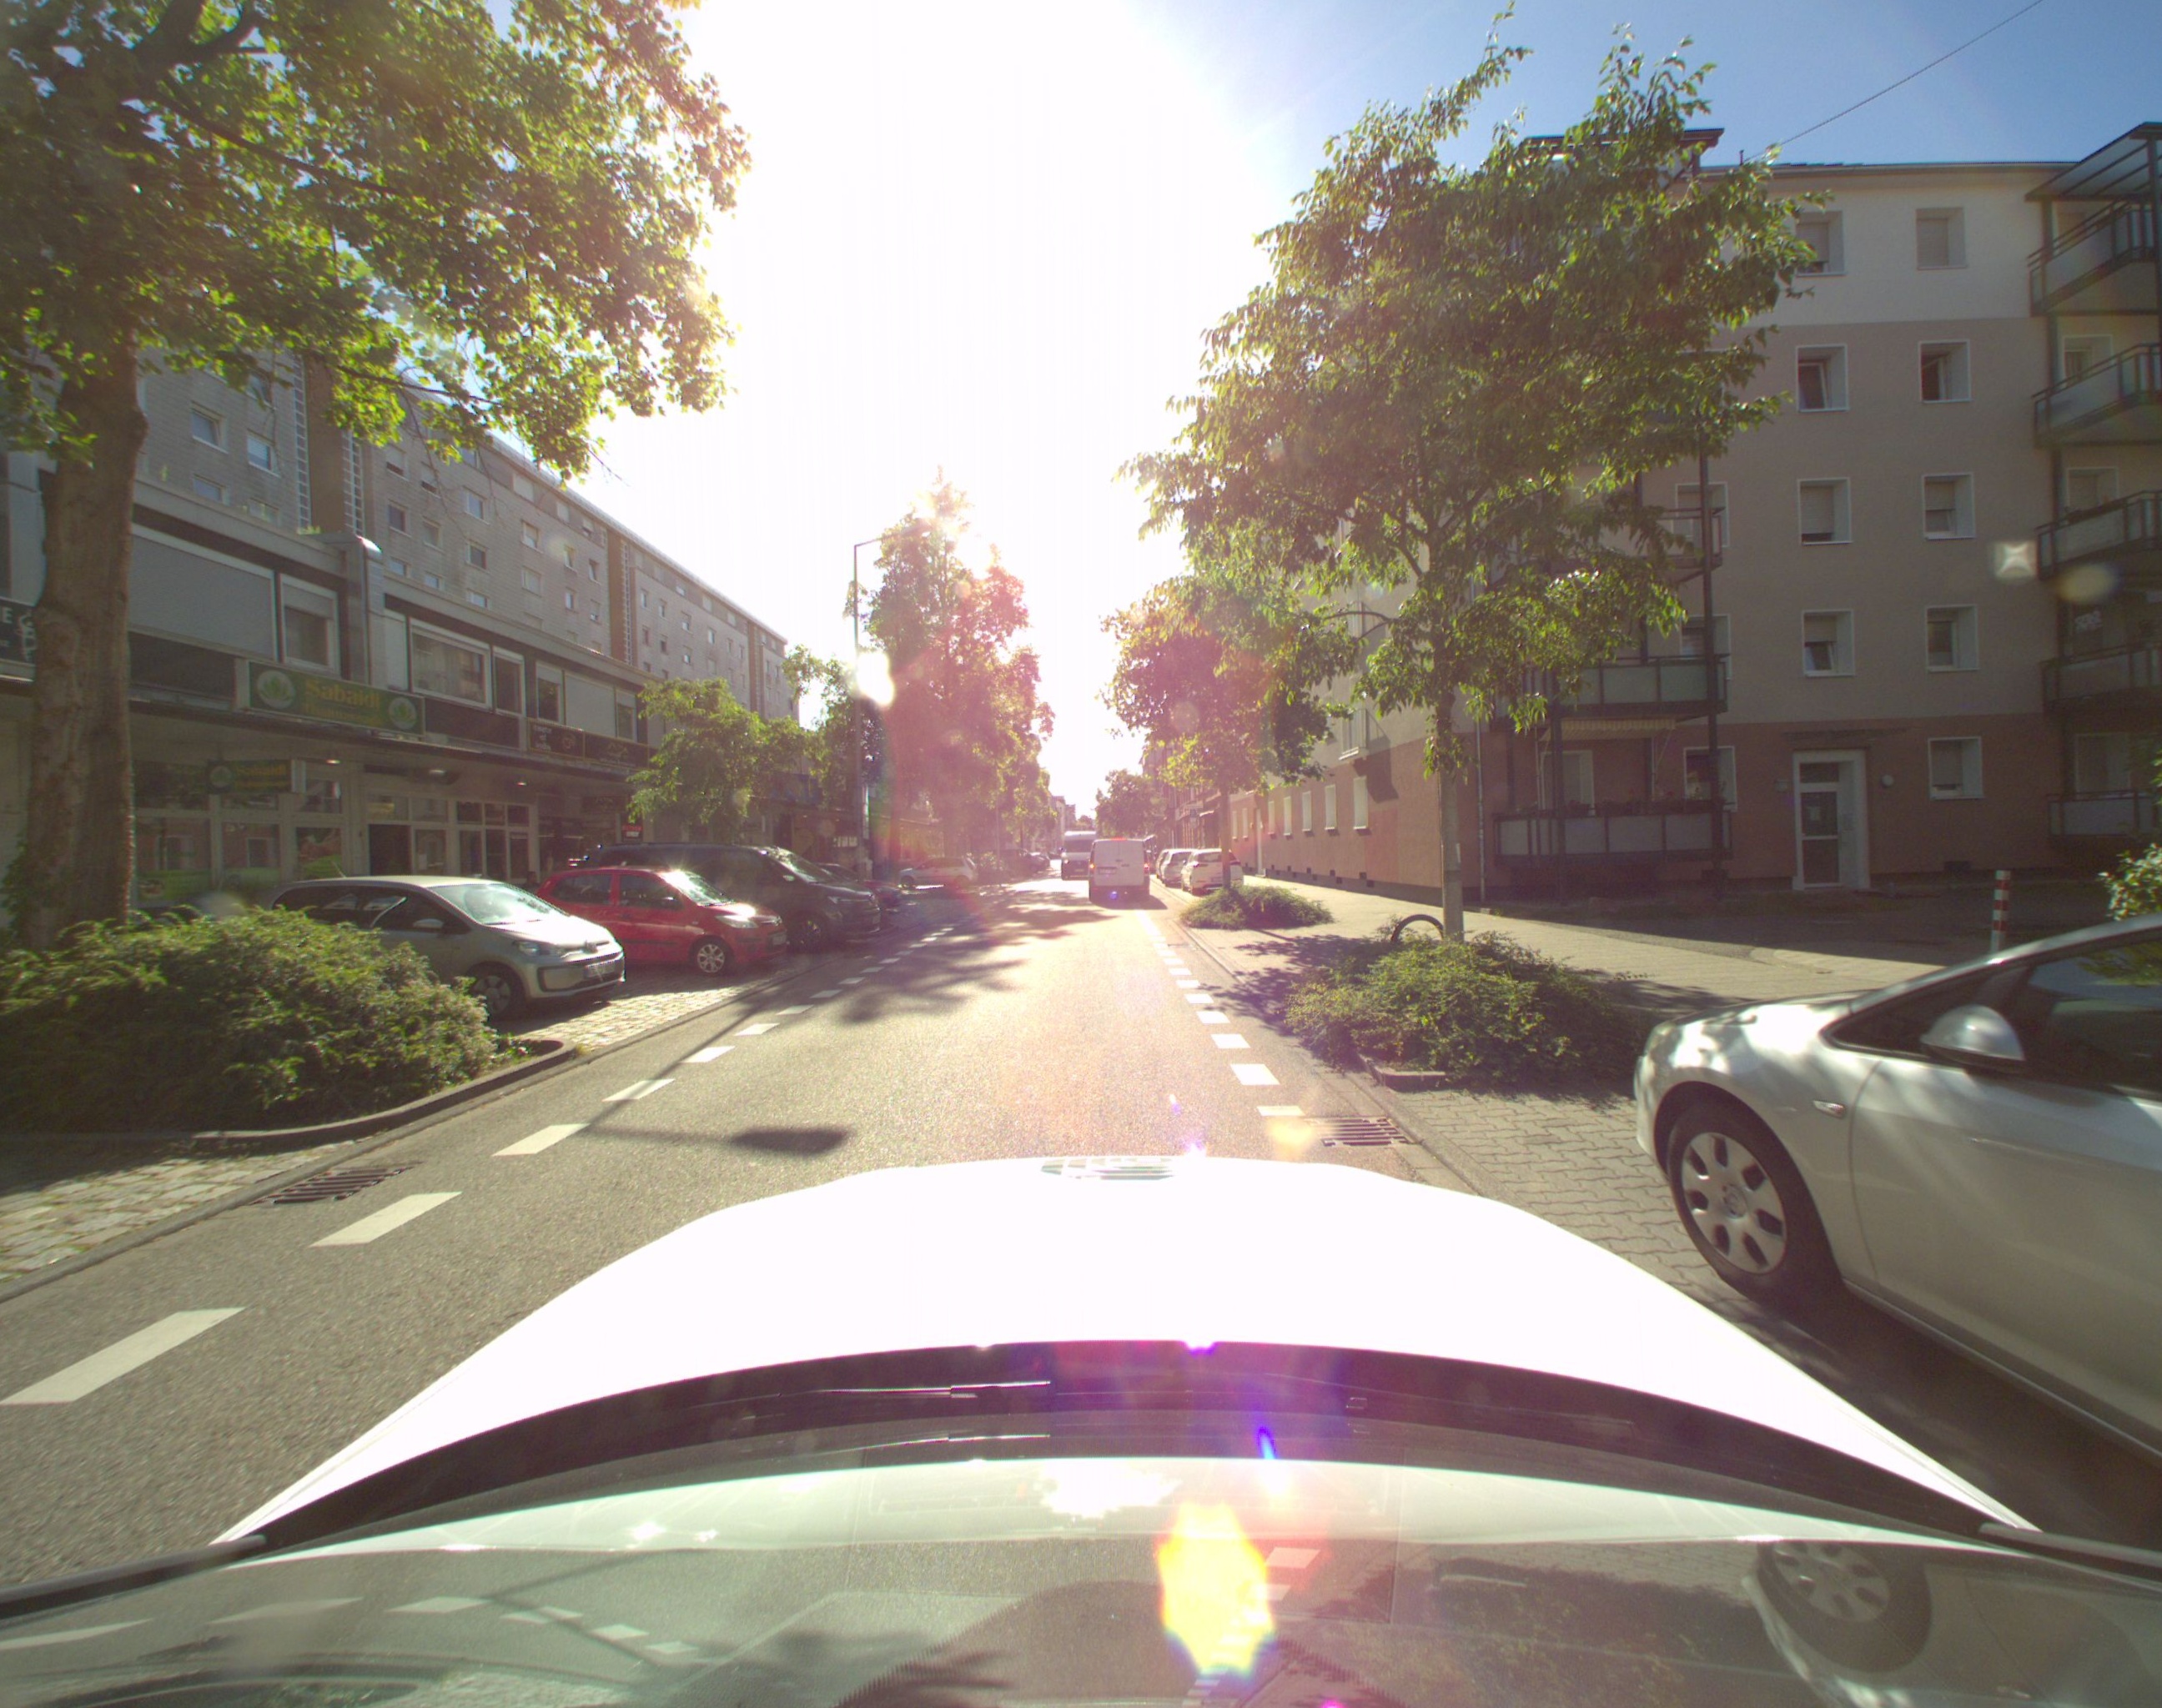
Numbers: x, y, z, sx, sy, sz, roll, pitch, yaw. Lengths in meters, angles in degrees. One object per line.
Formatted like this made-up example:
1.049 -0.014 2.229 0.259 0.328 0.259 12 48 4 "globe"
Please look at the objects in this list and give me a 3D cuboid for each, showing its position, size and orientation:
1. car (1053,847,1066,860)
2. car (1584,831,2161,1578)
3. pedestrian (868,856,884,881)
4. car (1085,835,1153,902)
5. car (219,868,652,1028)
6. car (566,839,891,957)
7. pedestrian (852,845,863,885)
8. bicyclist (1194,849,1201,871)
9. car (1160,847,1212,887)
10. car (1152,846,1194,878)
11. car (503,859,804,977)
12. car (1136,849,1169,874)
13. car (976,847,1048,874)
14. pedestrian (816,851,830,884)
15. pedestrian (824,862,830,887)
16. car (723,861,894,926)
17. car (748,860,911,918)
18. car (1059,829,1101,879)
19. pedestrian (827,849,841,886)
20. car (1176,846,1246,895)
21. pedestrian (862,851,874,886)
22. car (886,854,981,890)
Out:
-3.670 -0.085 140.794 1.986 2.013 4.002 -2 0 2 "car"
2.981 0.683 1.467 1.710 1.454 4.001 -3 0 1 "car"
-11.318 0.804 44.991 0.721 1.330 0.703 -1 0 -2 "pedestrian"
1.133 0.396 26.264 1.915 1.914 4.887 -1 1 0 "car"
-7.041 0.977 9.128 3.570 1.561 1.675 -1 0 4 "car"
-6.194 0.742 14.771 5.015 1.938 1.872 -1 0 -1 "car"
-10.972 0.544 39.924 0.389 1.934 0.361 -1 0 2 "pedestrian"
7.680 0.390 53.605 0.359 1.477 0.531 -1 0 5 "bicyclist"
4.334 0.494 34.206 1.778 1.460 4.520 -3 0 3 "car"
4.624 0.387 41.256 1.703 1.480 3.711 -2 0 1 "car"
-6.200 0.893 12.108 3.546 1.554 1.661 -1 0 0 "car"
4.473 0.438 51.544 1.733 1.451 4.000 -2 0 0 "car"
-5.257 0.499 62.738 5.274 1.974 2.015 -1 0 0 "car"
-11.998 0.629 37.892 0.467 1.473 0.420 -2 0 -2 "pedestrian"
-12.623 0.999 40.505 0.212 1.244 0.215 -1 0 2 "pedestrian"
-6.635 0.948 20.130 3.657 1.450 1.612 -1 0 -3 "car"
-6.843 0.931 22.453 3.905 1.450 1.710 -1 0 0 "car"
0.018 -0.010 44.633 1.986 2.473 6.606 -2 0 2 "car"
-12.014 0.637 39.639 0.483 1.782 0.427 -2 0 -2 "pedestrian"
4.405 0.520 28.116 1.726 1.486 3.794 -4 0 0 "car"
-10.348 0.700 39.603 0.389 1.705 0.502 -1 0 2 "pedestrian"
-6.767 0.830 37.716 3.974 1.457 1.860 -2 0 -1 "car"
